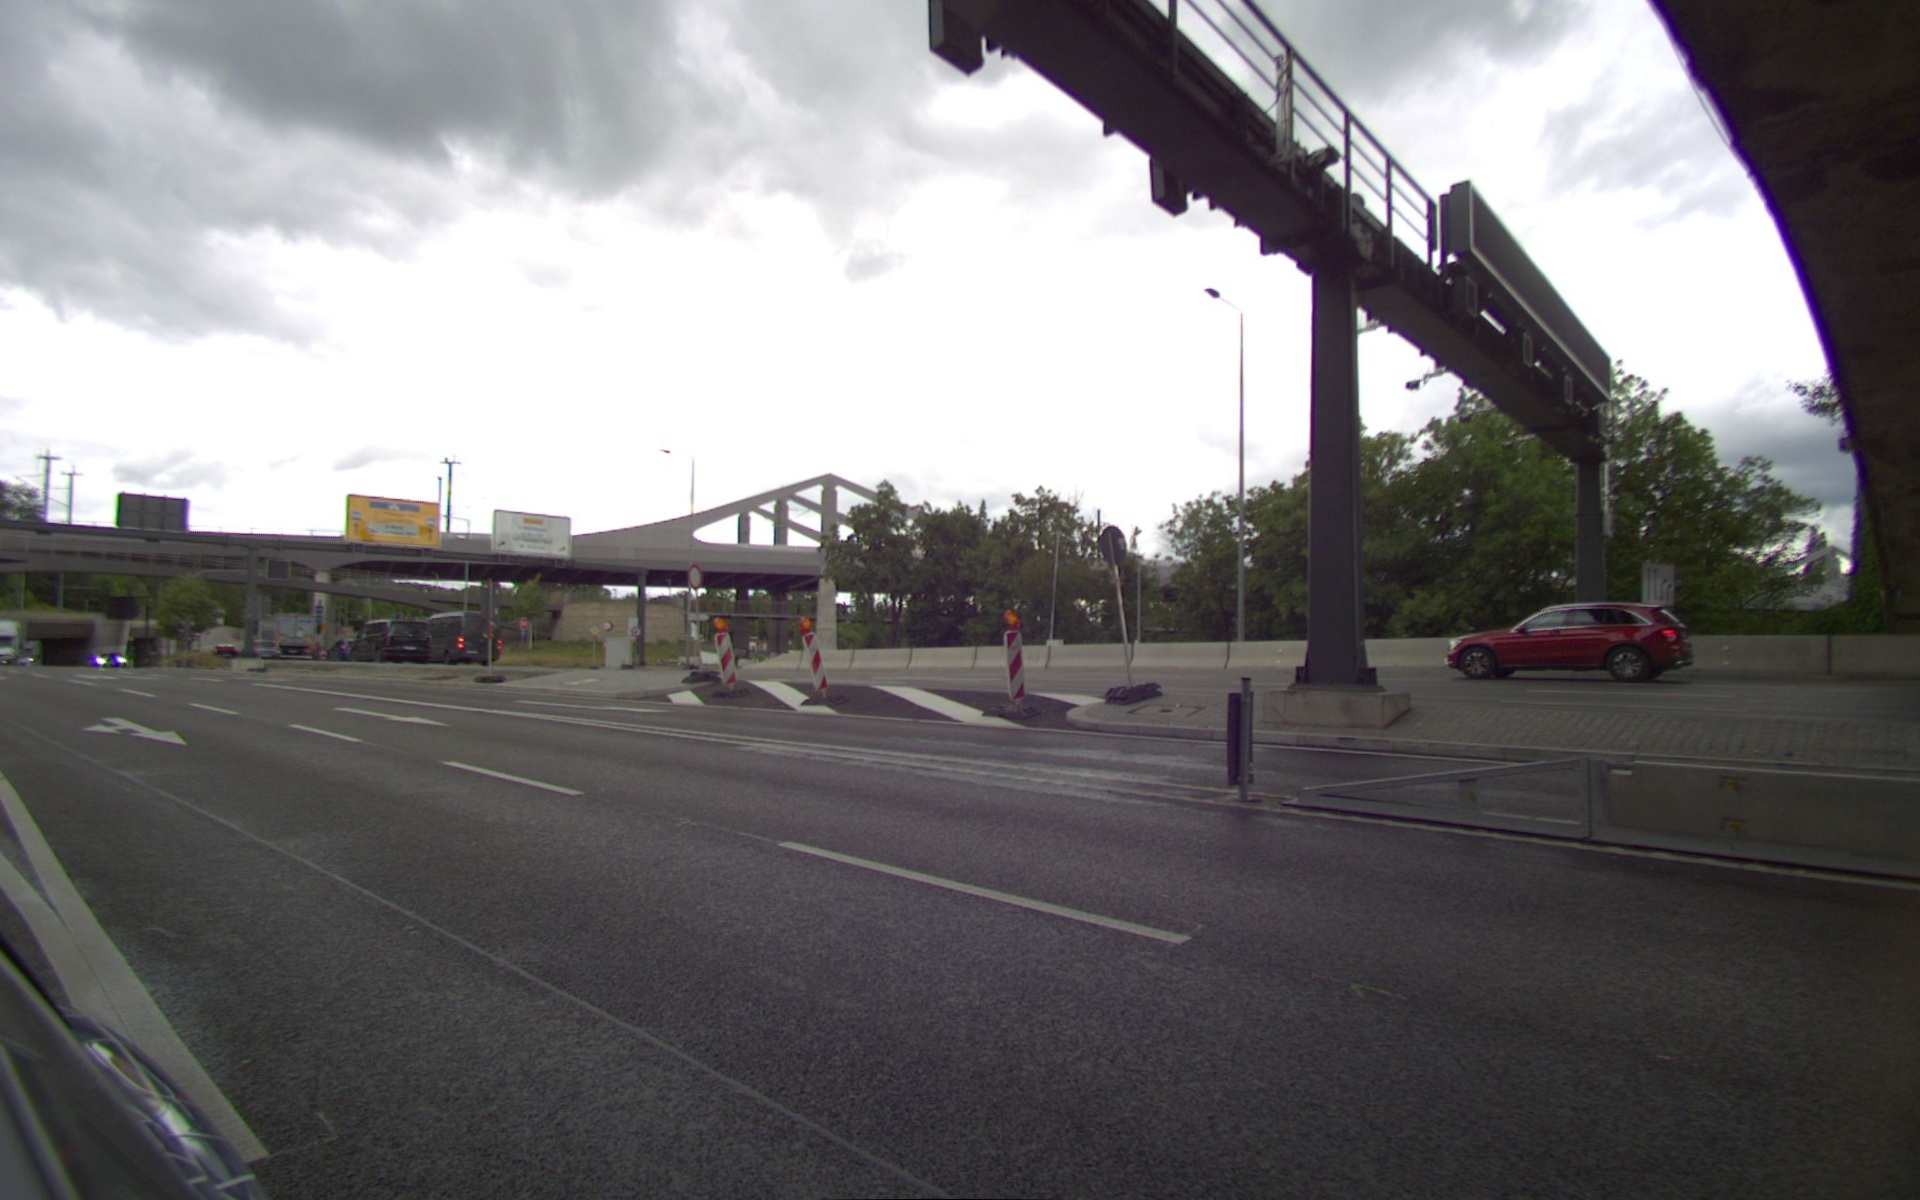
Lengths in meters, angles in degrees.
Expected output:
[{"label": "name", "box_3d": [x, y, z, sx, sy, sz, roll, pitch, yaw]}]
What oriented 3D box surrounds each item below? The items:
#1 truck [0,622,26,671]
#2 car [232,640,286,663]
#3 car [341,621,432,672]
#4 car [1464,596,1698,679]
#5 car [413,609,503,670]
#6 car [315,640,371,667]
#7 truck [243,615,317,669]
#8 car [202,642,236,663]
[{"label": "truck", "box_3d": [-64.623, 3.122, 67.525, 8.119, 3.151, 2.711, -3, -3, 43]}, {"label": "car", "box_3d": [-44.709, 3.324, 64.514, 4.255, 1.341, 1.865, -4, -6, 42]}, {"label": "car", "box_3d": [-25.482, 2.037, 44.904, 5.189, 2.029, 1.941, 0, -4, 43]}, {"label": "car", "box_3d": [13.352, 0.858, 21.929, 3.998, 1.629, 1.679, -4, -4, 44]}, {"label": "car", "box_3d": [-24.718, 1.948, 49.733, 2.189, 2.798, 6.149, 2, -3, -44]}, {"label": "car", "box_3d": [-40.146, 3.484, 65.790, 4.486, 1.697, 1.866, -3, -3, 41]}, {"label": "truck", "box_3d": [-56.420, 3.637, 83.739, 2.864, 4.093, 14.002, 4, -6, -42]}, {"label": "car", "box_3d": [-61.988, 4.410, 84.648, 1.685, 1.633, 4.457, 7, -8, -42]}]
